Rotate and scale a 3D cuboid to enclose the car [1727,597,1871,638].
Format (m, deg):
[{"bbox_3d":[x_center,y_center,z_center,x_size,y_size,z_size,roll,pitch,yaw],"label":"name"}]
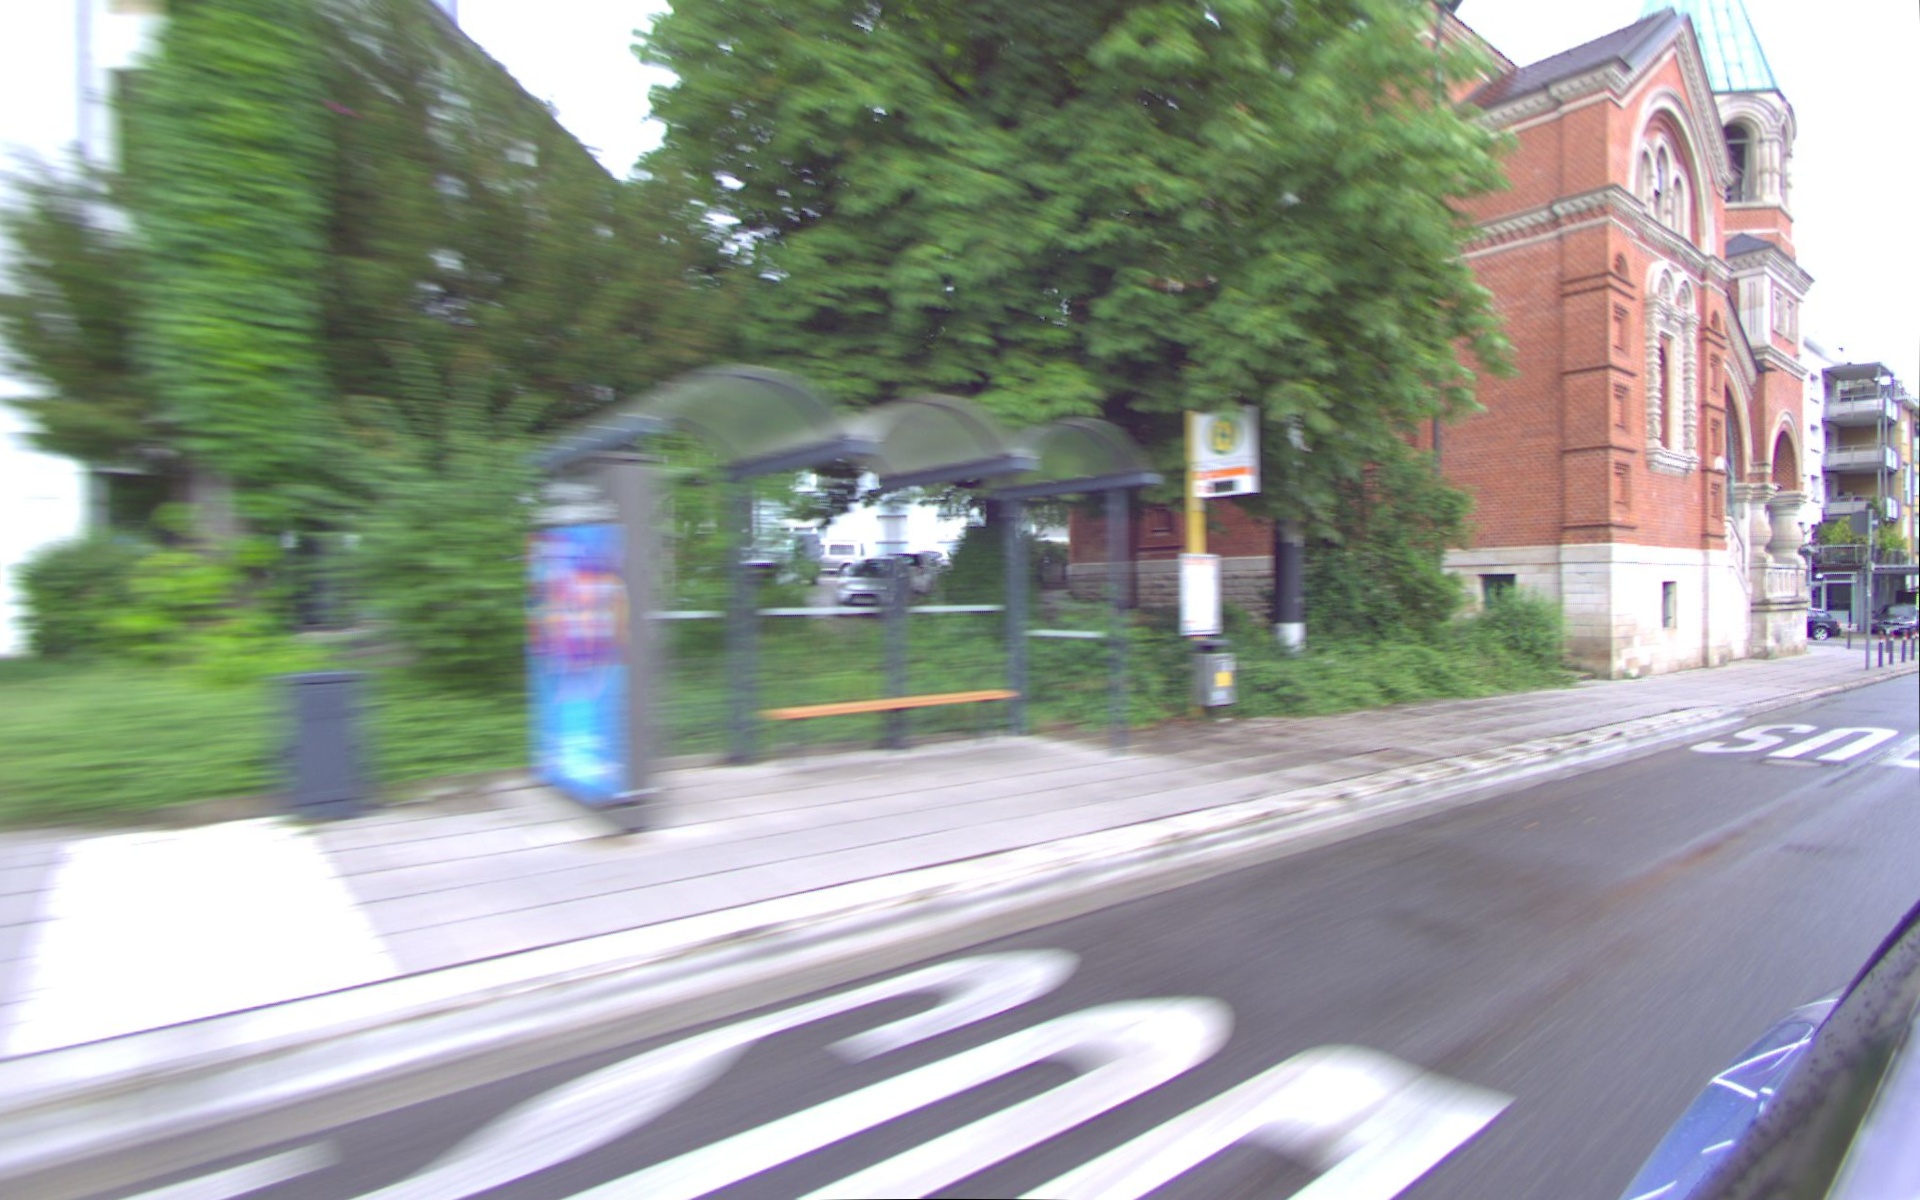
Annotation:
[{"bbox_3d":[36.391,0.749,44.006,4.372,1.476,1.999,4,-1,6],"label":"car"}]

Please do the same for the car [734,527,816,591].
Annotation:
[{"bbox_3d":[-6.302,-1.337,34.888,1.963,2.002,3.998,-1,0,2],"label":"car"}]

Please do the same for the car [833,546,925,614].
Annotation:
[{"bbox_3d":[-1.986,-0.479,25.882,1.809,1.584,3.992,-1,0,4],"label":"car"}]

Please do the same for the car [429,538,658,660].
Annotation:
[{"bbox_3d":[-6.574,-0.013,16.523,1.809,1.717,4.198,-1,0,4],"label":"car"}]

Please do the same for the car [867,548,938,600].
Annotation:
[{"bbox_3d":[-1.699,-0.762,31.095,1.712,1.463,3.832,-1,0,4],"label":"car"}]

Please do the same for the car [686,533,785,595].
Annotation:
[{"bbox_3d":[-6.688,-1.016,30.604,1.809,1.717,4.197,-1,0,4],"label":"car"}]

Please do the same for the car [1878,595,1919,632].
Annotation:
[{"bbox_3d":[45.611,0.621,48.363,4.369,1.521,1.858,-2,4,-39],"label":"car"}]

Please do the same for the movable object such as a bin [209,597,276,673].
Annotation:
[{"bbox_3d":[-10.016,0.479,14.143,0.577,1.036,0.534,-1,0,-7],"label":"movable object such as a bin"}]

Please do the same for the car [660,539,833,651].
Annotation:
[{"bbox_3d":[-3.343,-0.076,16.718,1.808,1.578,4.382,-1,0,2],"label":"car"}]

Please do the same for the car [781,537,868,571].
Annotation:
[{"bbox_3d":[-6.689,-2.261,50.167,3.936,1.550,1.823,1,-1,10],"label":"car"}]
